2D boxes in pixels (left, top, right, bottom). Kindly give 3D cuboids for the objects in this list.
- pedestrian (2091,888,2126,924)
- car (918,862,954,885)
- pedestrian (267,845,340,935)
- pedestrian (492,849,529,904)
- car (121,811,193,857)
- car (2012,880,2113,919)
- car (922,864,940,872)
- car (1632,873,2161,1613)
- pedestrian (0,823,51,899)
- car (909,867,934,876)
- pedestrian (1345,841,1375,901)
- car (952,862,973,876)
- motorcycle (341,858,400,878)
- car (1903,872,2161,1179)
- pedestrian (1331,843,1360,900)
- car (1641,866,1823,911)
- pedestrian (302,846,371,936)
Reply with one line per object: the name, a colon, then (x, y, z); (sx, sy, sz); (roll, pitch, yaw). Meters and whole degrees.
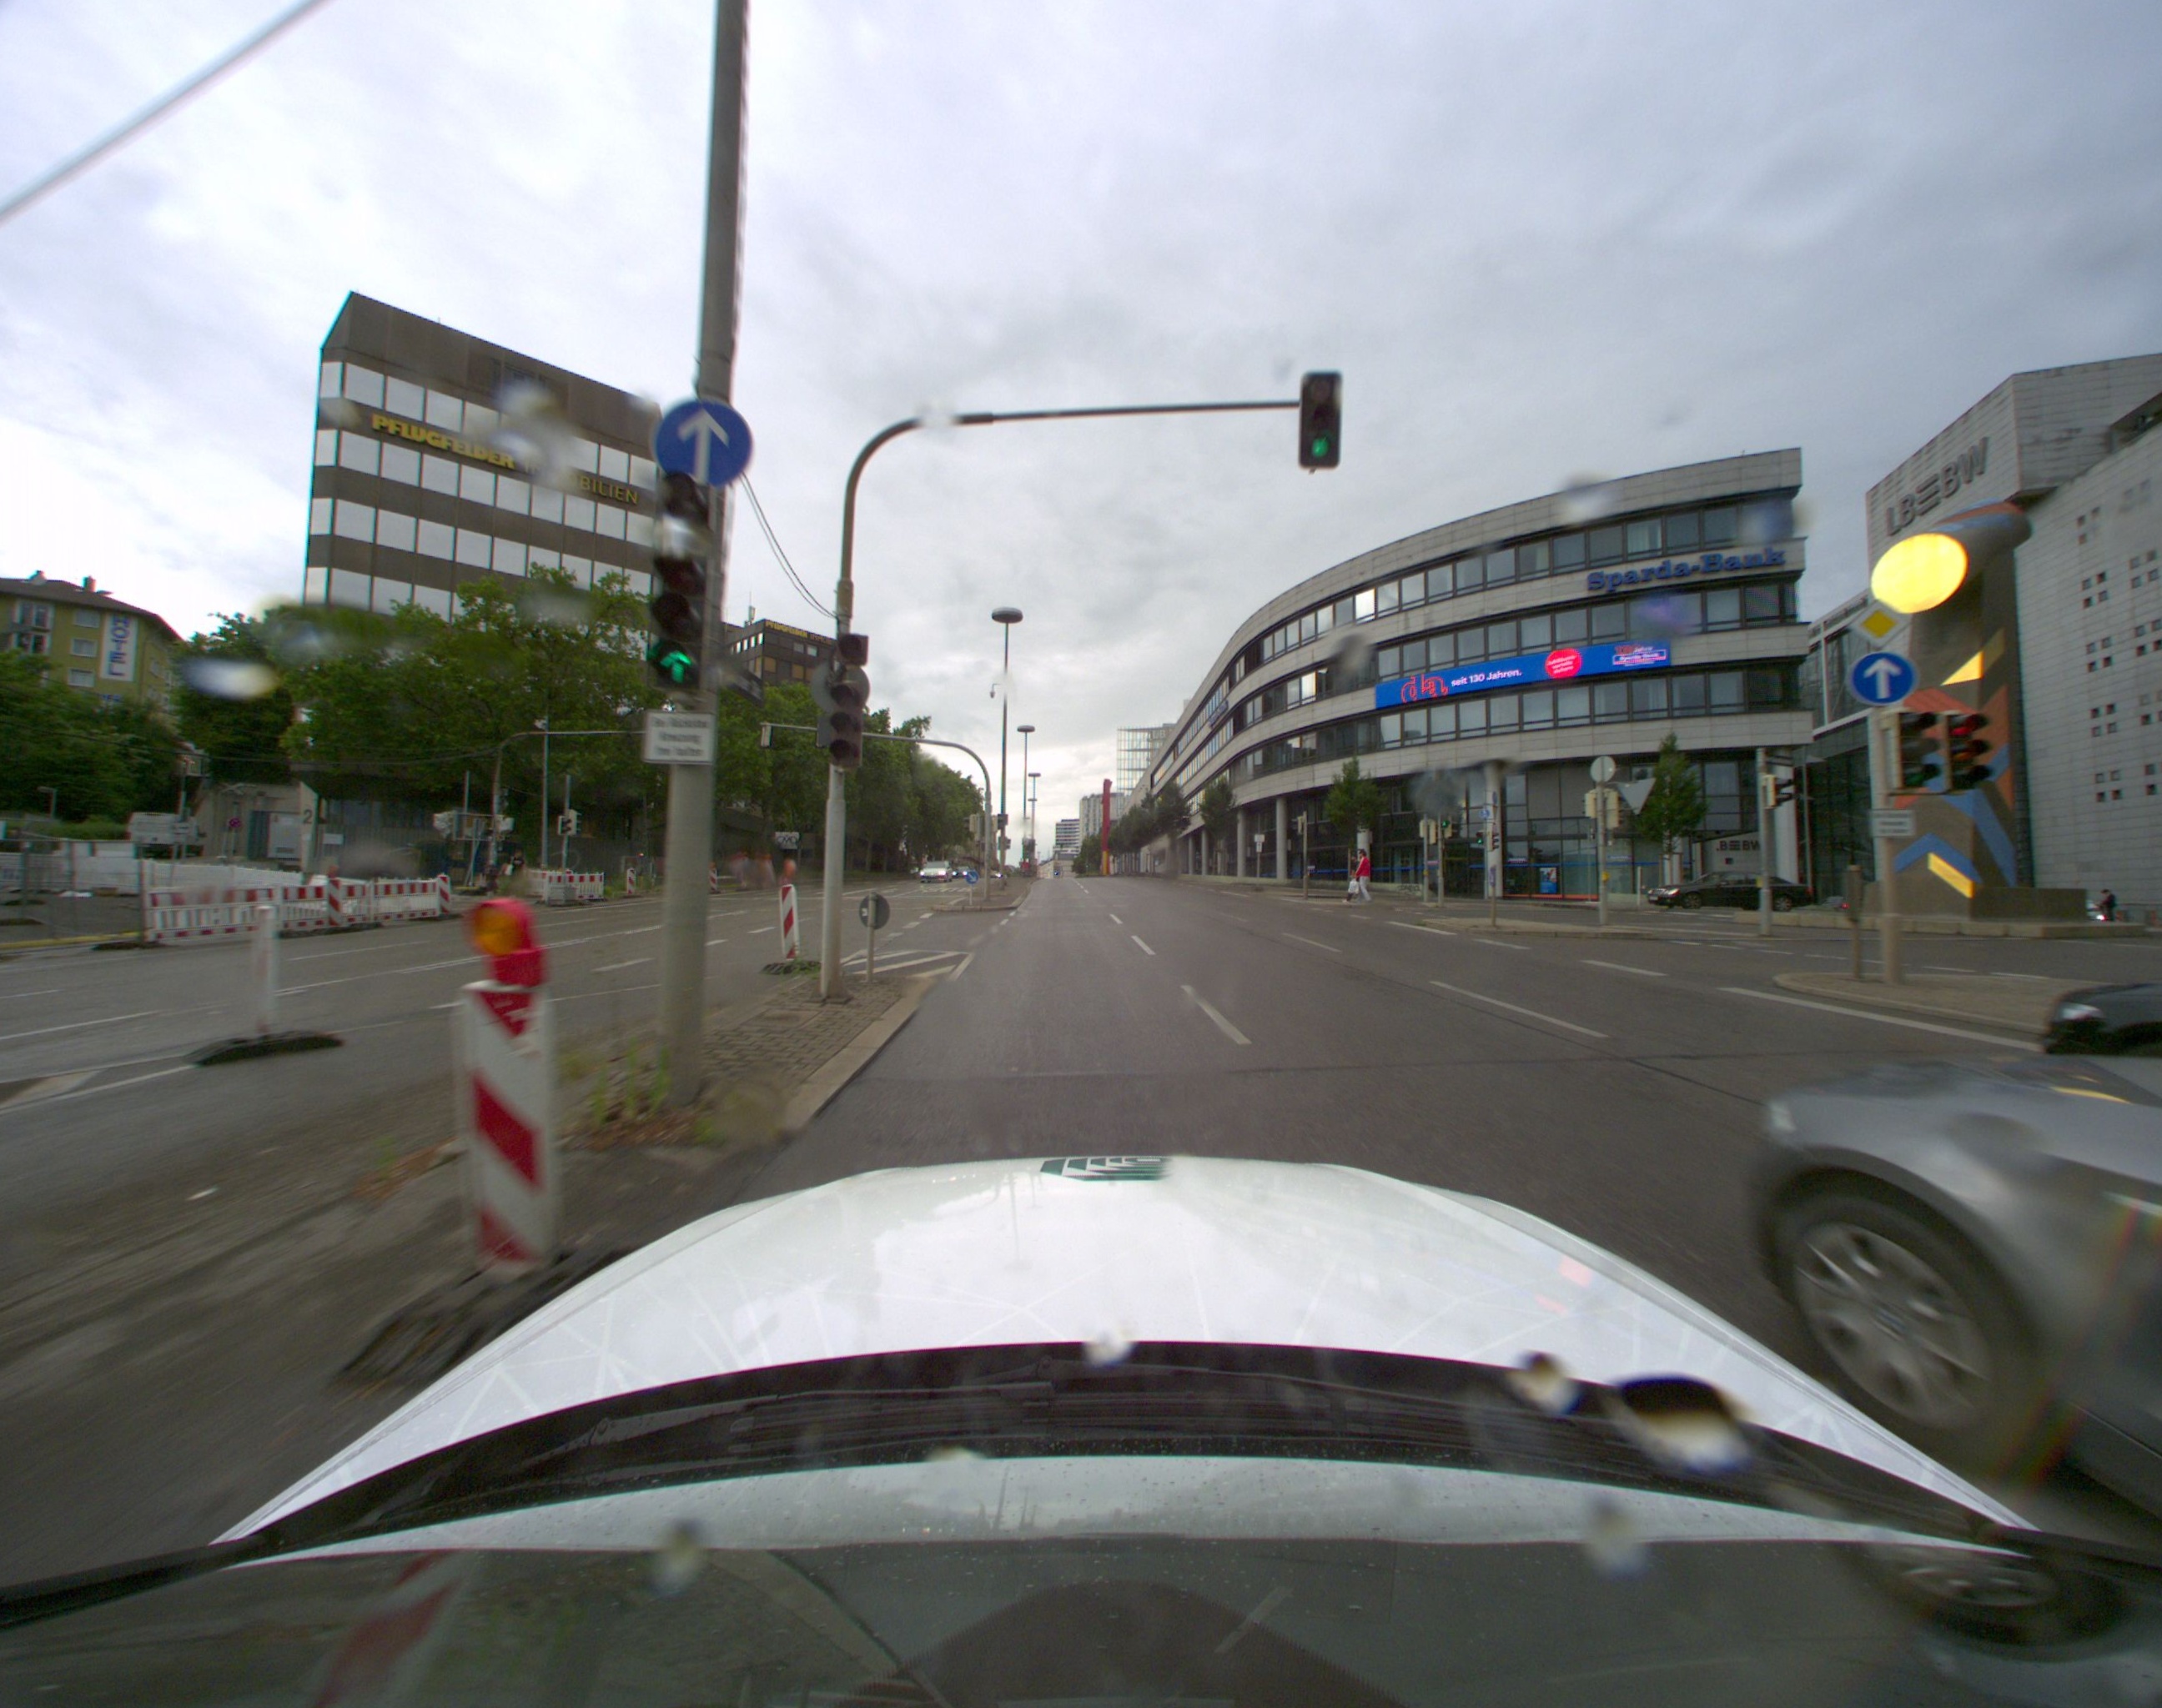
pedestrian: (51.529, 2.619, 40.868); (0.660, 1.721, 1.070); (0, 0, -40)
car: (-9.909, 1.323, 55.966); (1.756, 1.460, 4.356); (-1, 0, -2)
pedestrian: (-16.910, 0.778, 17.727); (0.758, 1.923, 0.742); (0, -3, 1)
pedestrian: (-20.085, 0.799, 28.676); (0.741, 1.880, 0.744); (1, -3, -11)
car: (-56.095, -1.114, 49.562); (2.241, 2.443, 5.437); (3, -4, -42)
car: (39.179, 1.863, 32.621); (1.843, 1.442, 4.024); (-2, -5, 40)
car: (-33.639, 3.154, 182.885); (3.623, 1.701, 1.822); (-1, -3, -5)
car: (3.043, 0.780, 1.108); (1.736, 1.443, 3.994); (1, -1, -4)
pedestrian: (-30.505, 0.230, 23.487); (0.746, 2.140, 0.738); (3, -4, -38)
car: (-30.473, 3.356, 155.927); (1.801, 1.511, 4.606); (-3, -3, 36)
pedestrian: (9.105, 0.565, 26.606); (0.833, 1.905, 0.866); (-1, -3, 24)
car: (-13.251, 1.669, 91.085); (1.802, 1.448, 4.336); (-1, 0, -2)
motorcycle: (-36.603, 0.731, 41.987); (2.193, 1.037, 0.559); (1, -1, -37)
car: (5.909, 0.794, 2.829); (1.751, 1.407, 4.222); (2, -2, -3)
pedestrian: (9.020, 0.602, 27.751); (0.833, 1.905, 0.736); (-1, -2, 24)
car: (22.753, 1.199, 28.647); (4.670, 1.442, 1.872); (1, -3, 10)
pedestrian: (-16.171, 0.798, 17.719); (0.670, 1.902, 0.775); (0, -3, 1)
